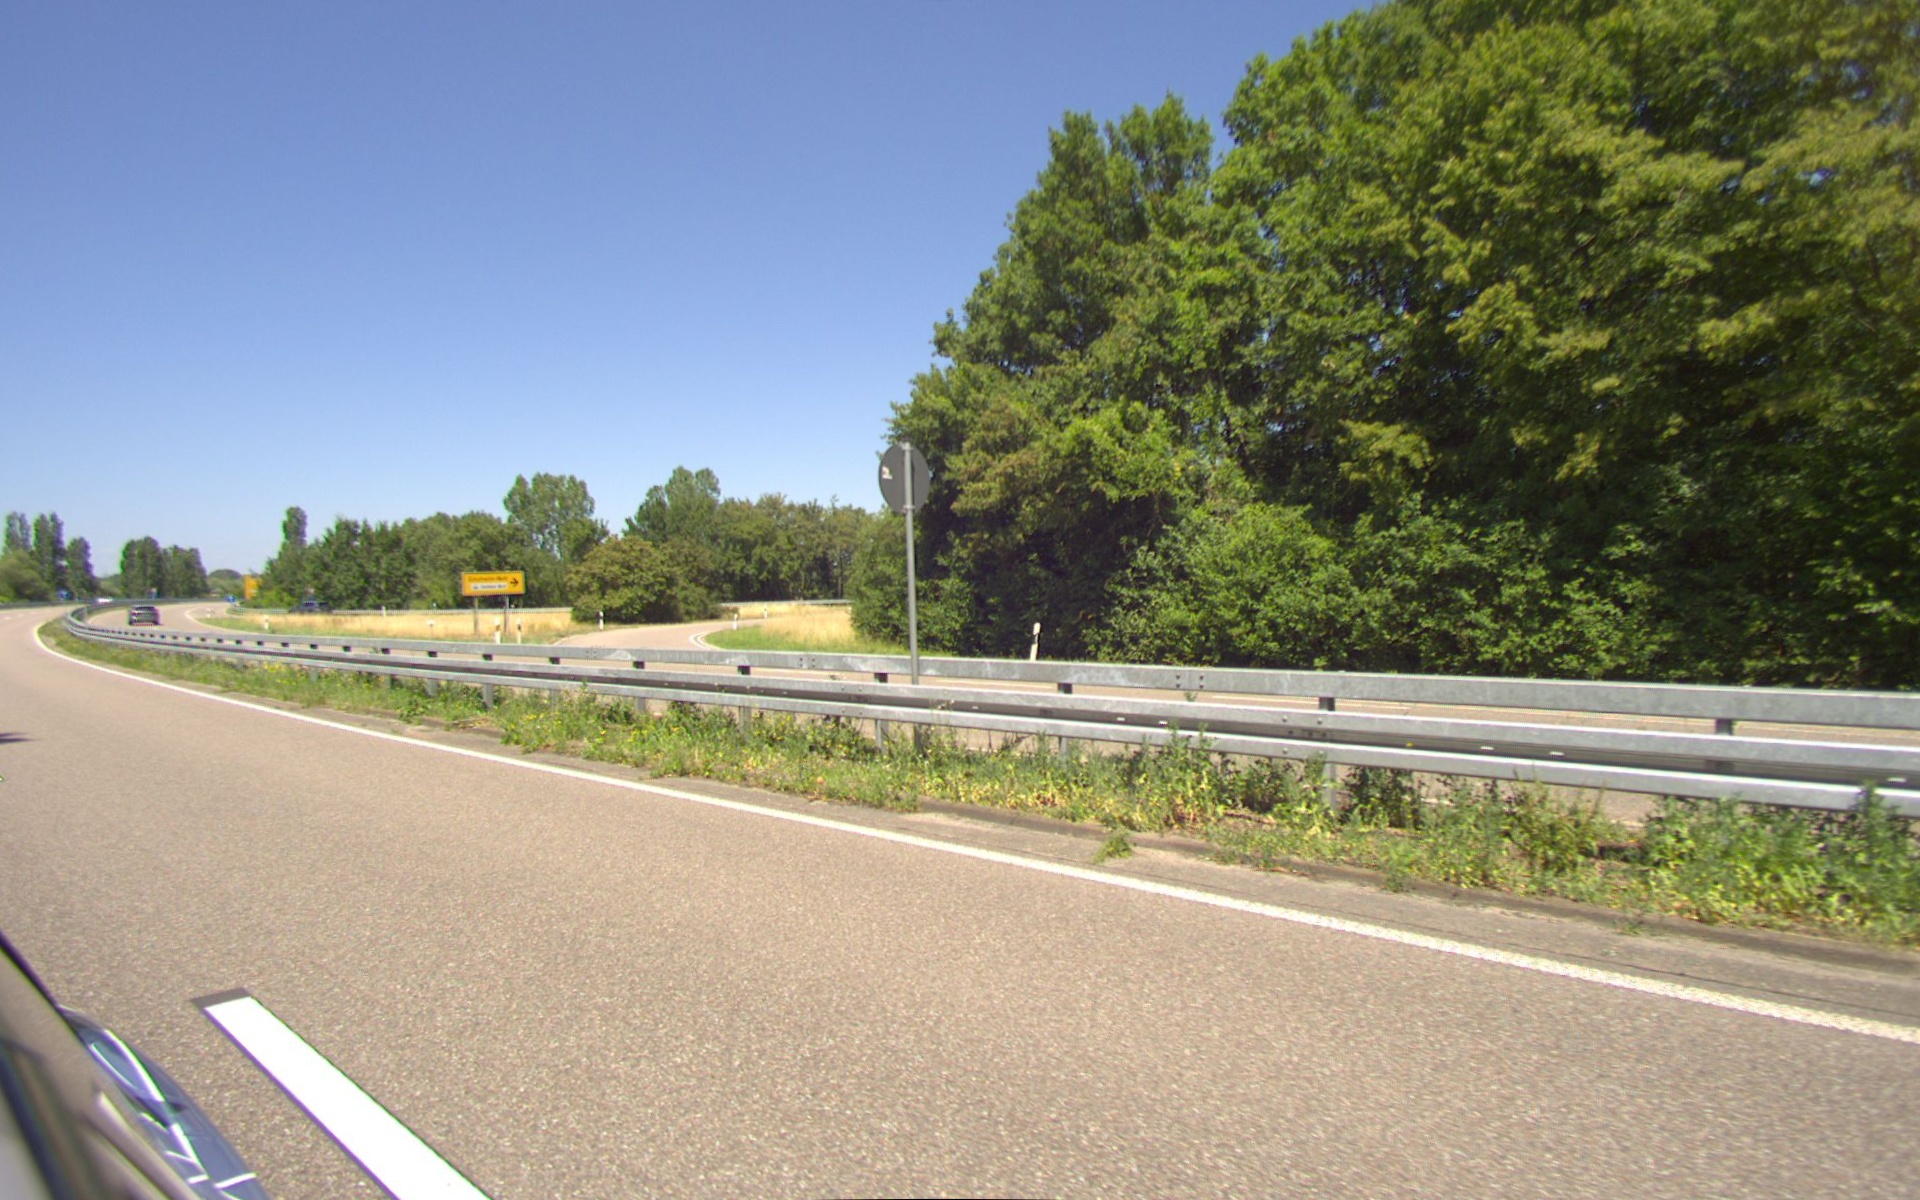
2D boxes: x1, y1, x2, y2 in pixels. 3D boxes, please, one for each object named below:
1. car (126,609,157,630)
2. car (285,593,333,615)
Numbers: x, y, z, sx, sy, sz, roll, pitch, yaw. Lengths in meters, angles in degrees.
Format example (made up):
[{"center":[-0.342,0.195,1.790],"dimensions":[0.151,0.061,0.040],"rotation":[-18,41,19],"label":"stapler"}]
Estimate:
[{"center":[-66.718,1.584,82.447],"dimensions":[1.801,1.630,4.546],"rotation":[0,-1,-41],"label":"car"},{"center":[-64.421,0.393,100.116],"dimensions":[3.970,2.028,1.987],"rotation":[-1,2,20],"label":"car"}]
